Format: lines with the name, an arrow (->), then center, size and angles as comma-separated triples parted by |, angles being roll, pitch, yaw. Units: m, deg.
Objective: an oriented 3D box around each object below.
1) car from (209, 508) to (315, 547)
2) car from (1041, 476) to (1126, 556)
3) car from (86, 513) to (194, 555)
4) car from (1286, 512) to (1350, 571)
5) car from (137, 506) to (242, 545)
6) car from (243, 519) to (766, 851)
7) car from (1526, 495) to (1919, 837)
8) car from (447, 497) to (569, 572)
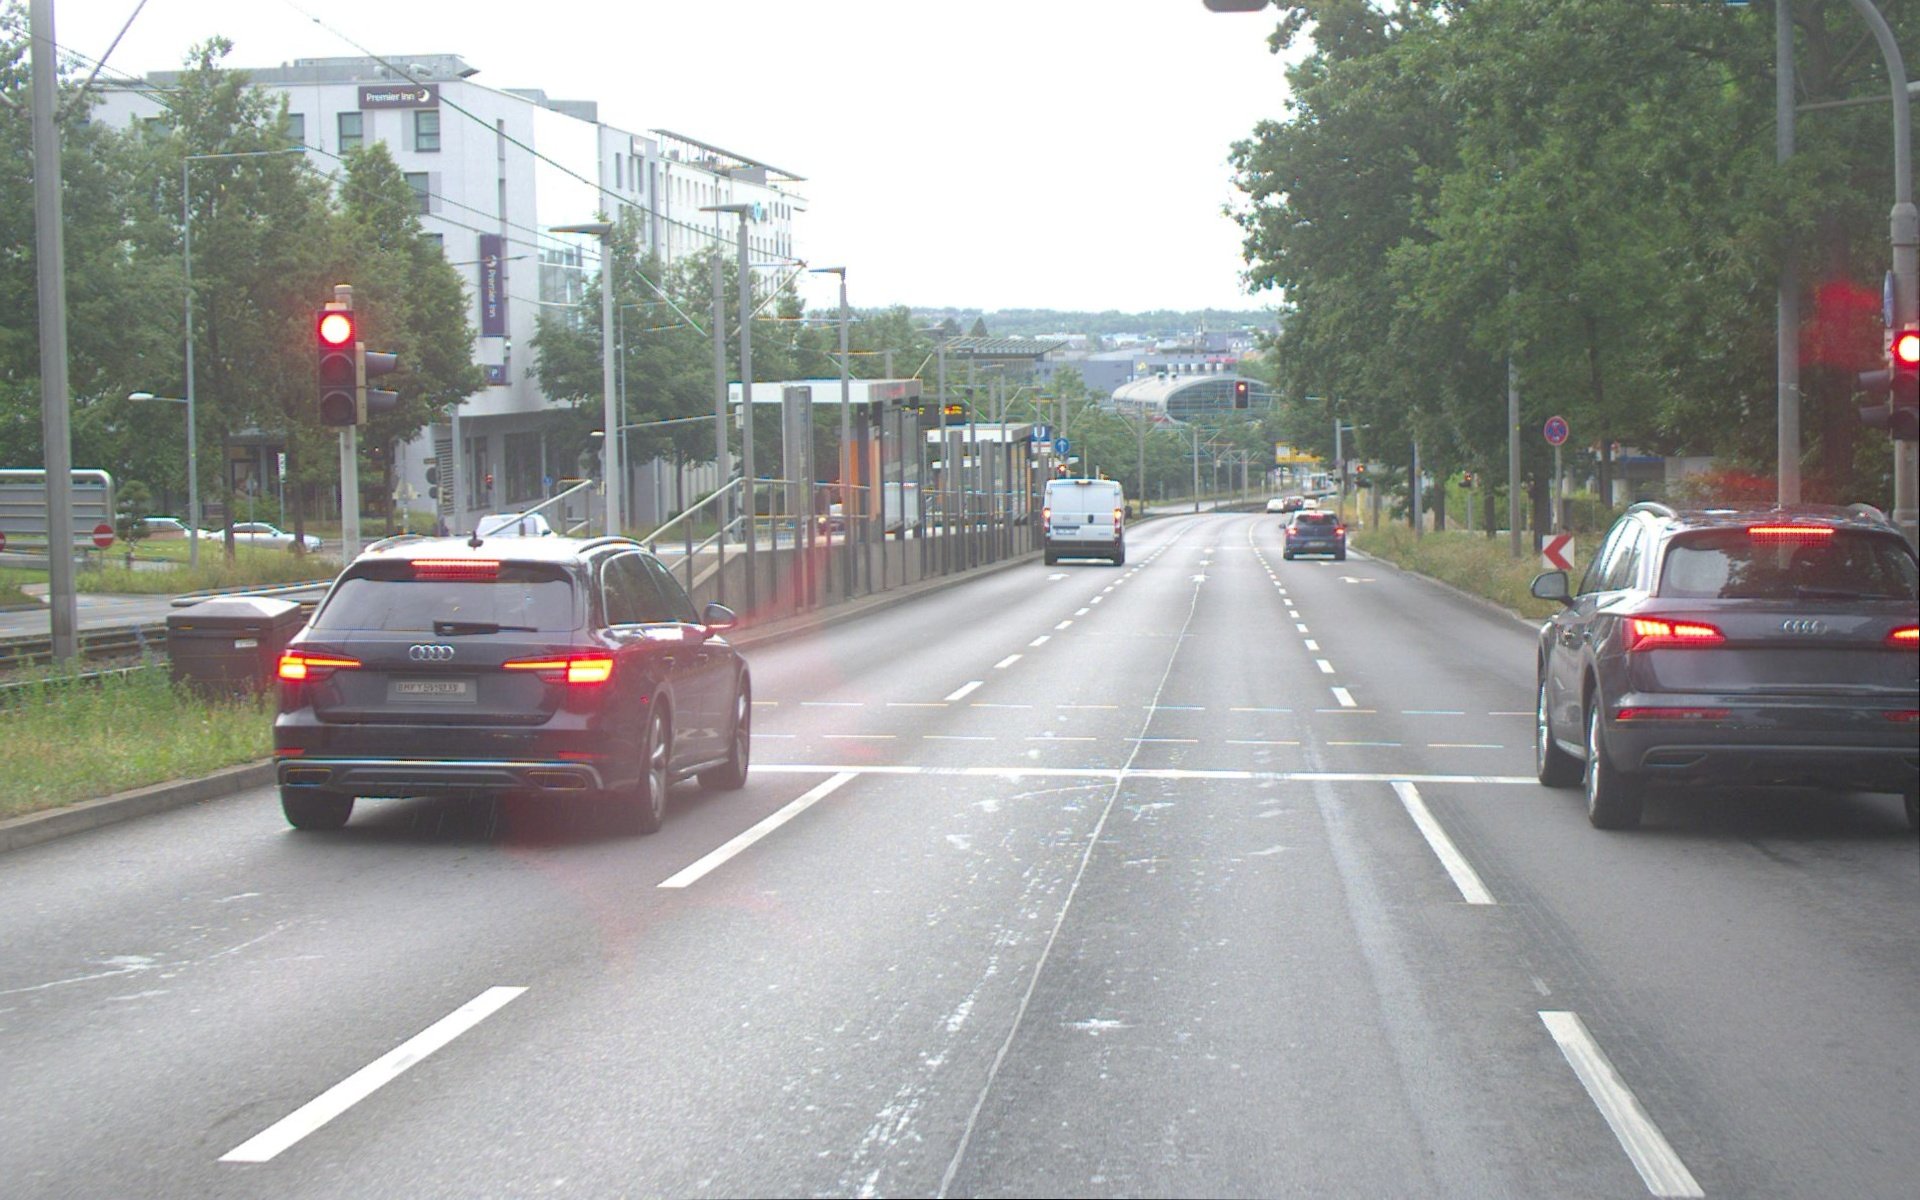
car -> -28.039, -2.909, 138.151 | 3.867, 1.431, 1.656 | -2, 1, 2
car -> 3.280, -2.228, 90.730 | 2.093, 2.046, 4.606 | 0, 2, 4
car -> -27.889, -2.269, 116.952 | 3.372, 1.382, 1.432 | 1, 2, 22
car -> 10.539, -1.731, 101.401 | 1.774, 1.685, 3.845 | 0, 2, 4
car -> -31.552, -3.055, 140.896 | 4.088, 1.431, 1.656 | -2, 1, -10
car -> -2.179, 0.324, 17.678 | 1.780, 1.461, 4.513 | 0, 2, 4
car -> 4.180, 0.253, 18.513 | 1.818, 1.607, 4.470 | 0, 2, 4
car -> -10.958, -1.615, 83.657 | 1.994, 1.713, 4.840 | -2, 1, 3
